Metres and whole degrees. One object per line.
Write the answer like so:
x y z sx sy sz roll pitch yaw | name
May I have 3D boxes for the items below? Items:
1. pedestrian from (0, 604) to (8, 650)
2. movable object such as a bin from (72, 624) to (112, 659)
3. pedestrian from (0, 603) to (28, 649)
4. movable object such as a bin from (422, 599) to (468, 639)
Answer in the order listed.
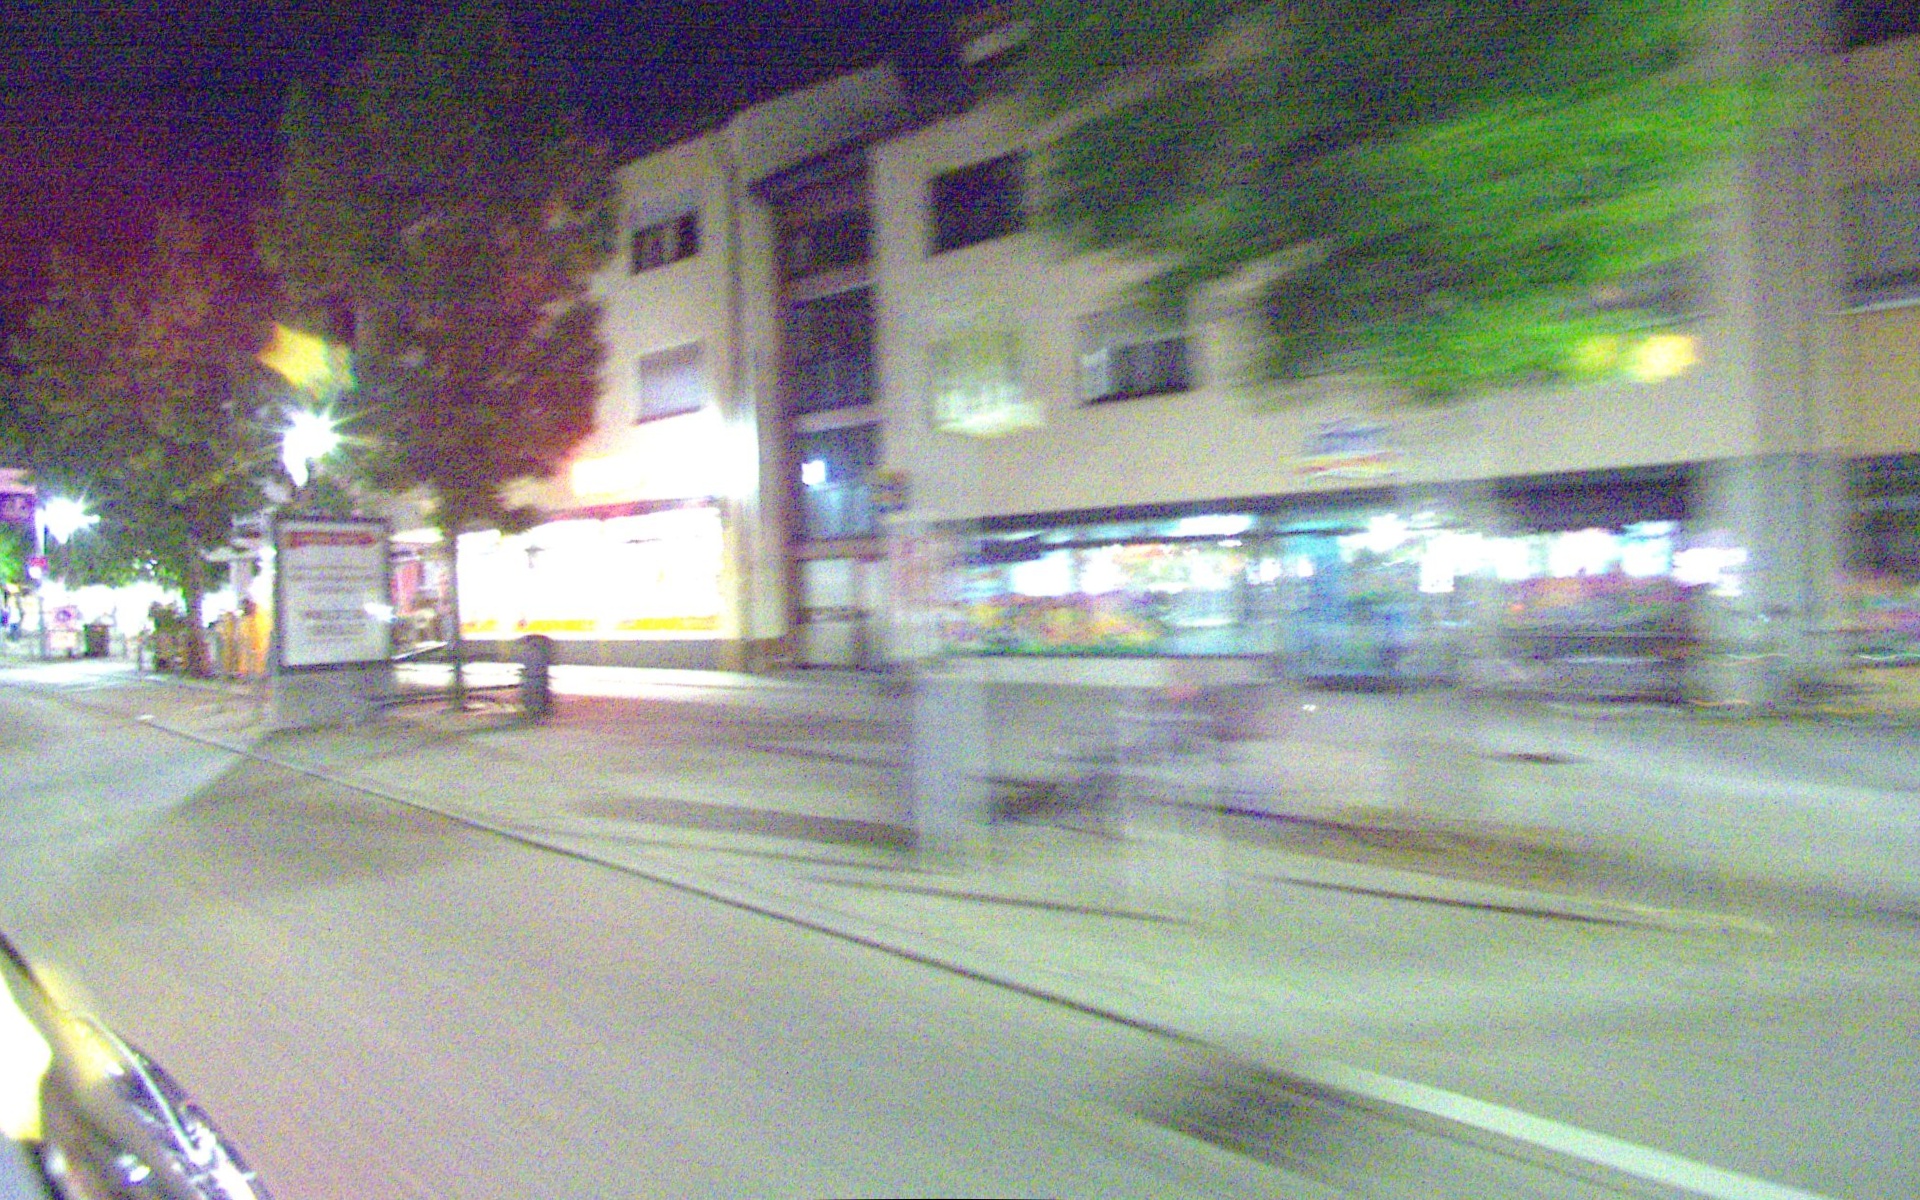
-39.218 1.117 40.902 0.866 1.845 0.793 -2 1 -33 | pedestrian
-27.308 1.290 31.829 0.789 1.073 0.741 0 0 31 | movable object such as a bin
-38.433 1.046 41.015 0.781 1.831 1.026 -3 1 -36 | pedestrian
-19.862 0.709 39.045 1.224 1.468 1.122 0 1 32 | movable object such as a bin
